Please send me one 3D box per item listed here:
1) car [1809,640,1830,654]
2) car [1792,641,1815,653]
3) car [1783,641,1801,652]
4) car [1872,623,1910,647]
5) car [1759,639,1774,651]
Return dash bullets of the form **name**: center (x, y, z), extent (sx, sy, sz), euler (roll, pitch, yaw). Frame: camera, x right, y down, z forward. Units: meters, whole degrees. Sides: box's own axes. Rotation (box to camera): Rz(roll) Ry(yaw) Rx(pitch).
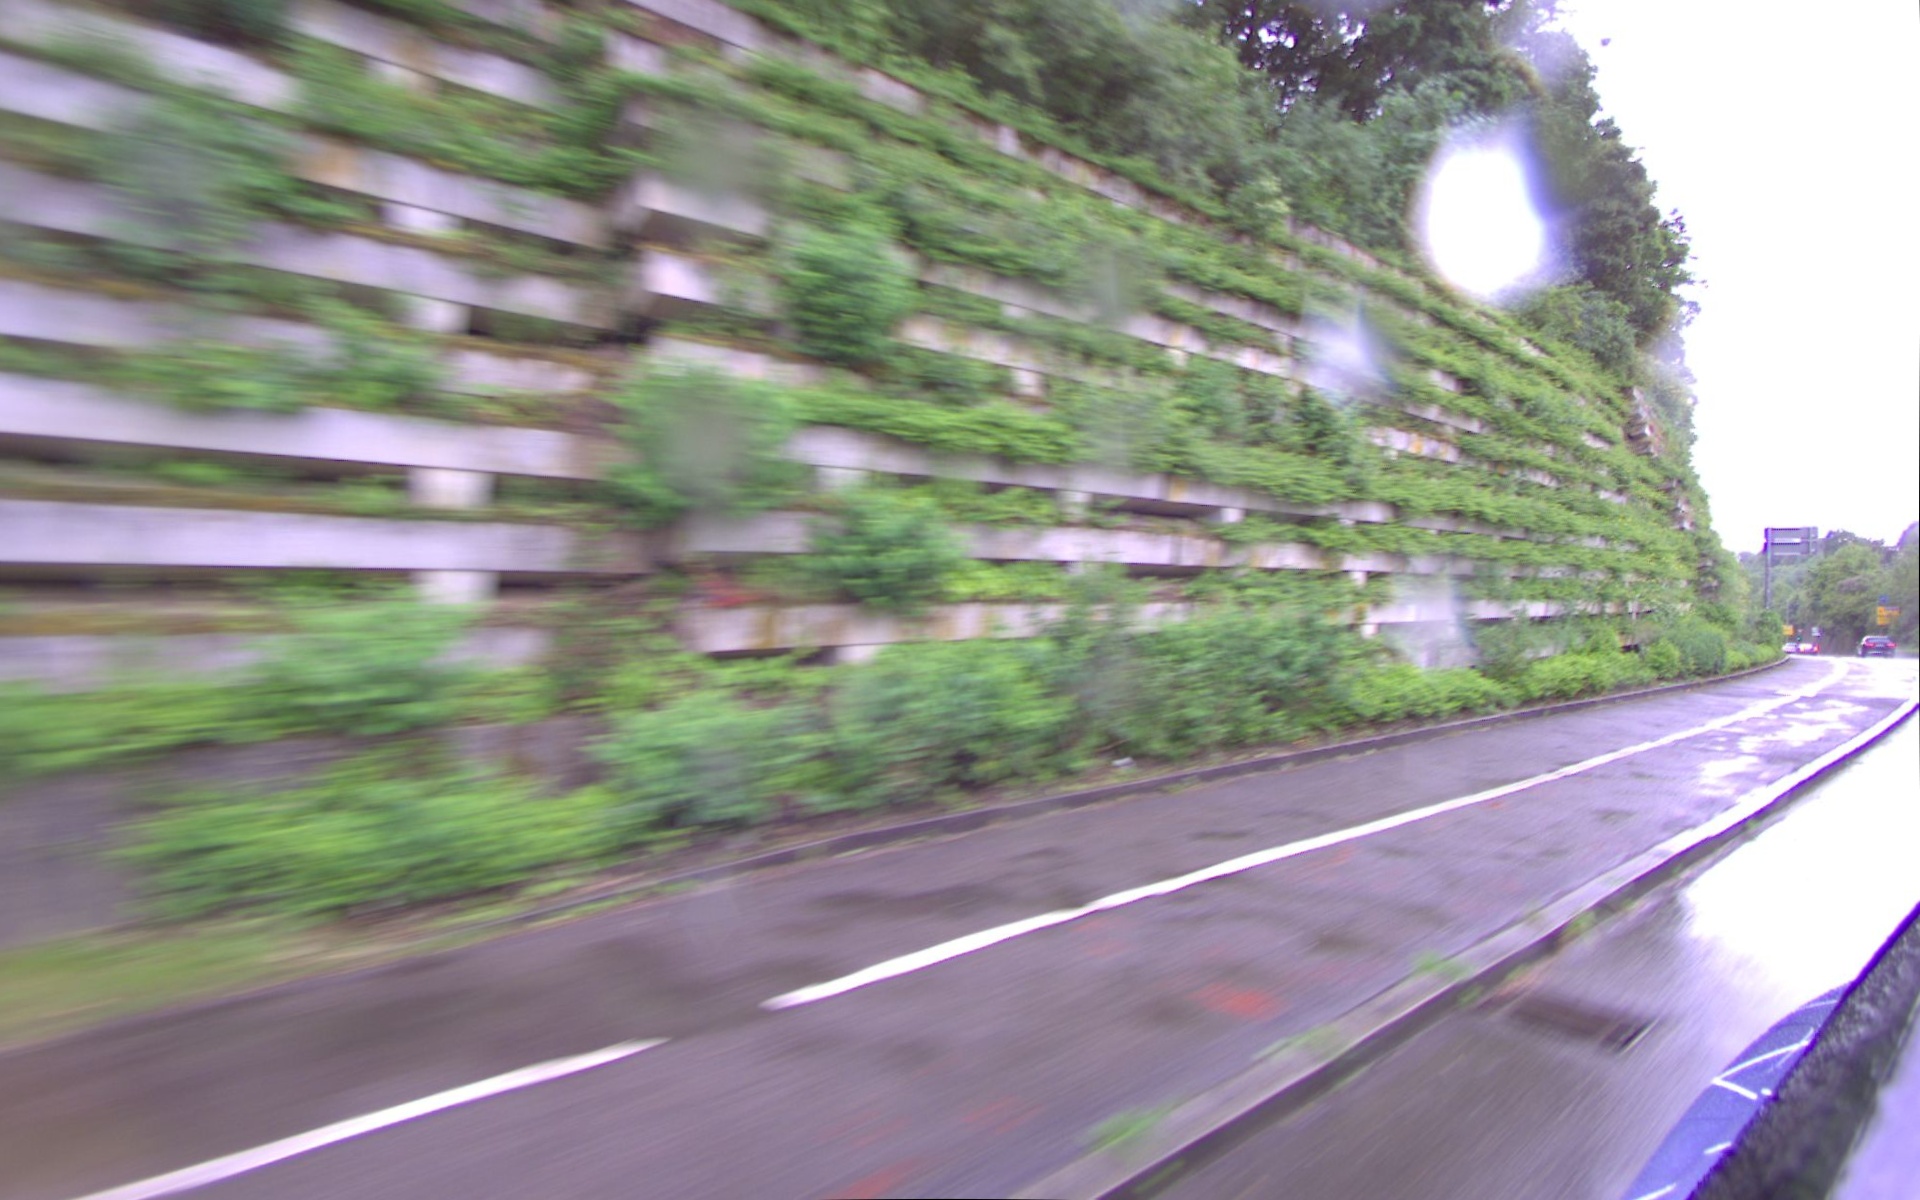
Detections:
- **car**: center (103.192, 5.621, 121.506), extent (1.791, 1.427, 3.944), euler (0, 0, 39)
- **car**: center (120.753, 6.669, 144.863), extent (1.985, 1.545, 3.953), euler (1, -1, 32)
- **car**: center (129.828, 7.286, 157.931), extent (1.988, 1.545, 3.948), euler (1, -1, 36)
- **car**: center (69.052, 2.581, 75.128), extent (1.795, 1.656, 3.942), euler (3, 1, 39)
- **car**: center (129.073, 7.211, 161.921), extent (1.790, 1.866, 3.944), euler (1, -1, 38)
